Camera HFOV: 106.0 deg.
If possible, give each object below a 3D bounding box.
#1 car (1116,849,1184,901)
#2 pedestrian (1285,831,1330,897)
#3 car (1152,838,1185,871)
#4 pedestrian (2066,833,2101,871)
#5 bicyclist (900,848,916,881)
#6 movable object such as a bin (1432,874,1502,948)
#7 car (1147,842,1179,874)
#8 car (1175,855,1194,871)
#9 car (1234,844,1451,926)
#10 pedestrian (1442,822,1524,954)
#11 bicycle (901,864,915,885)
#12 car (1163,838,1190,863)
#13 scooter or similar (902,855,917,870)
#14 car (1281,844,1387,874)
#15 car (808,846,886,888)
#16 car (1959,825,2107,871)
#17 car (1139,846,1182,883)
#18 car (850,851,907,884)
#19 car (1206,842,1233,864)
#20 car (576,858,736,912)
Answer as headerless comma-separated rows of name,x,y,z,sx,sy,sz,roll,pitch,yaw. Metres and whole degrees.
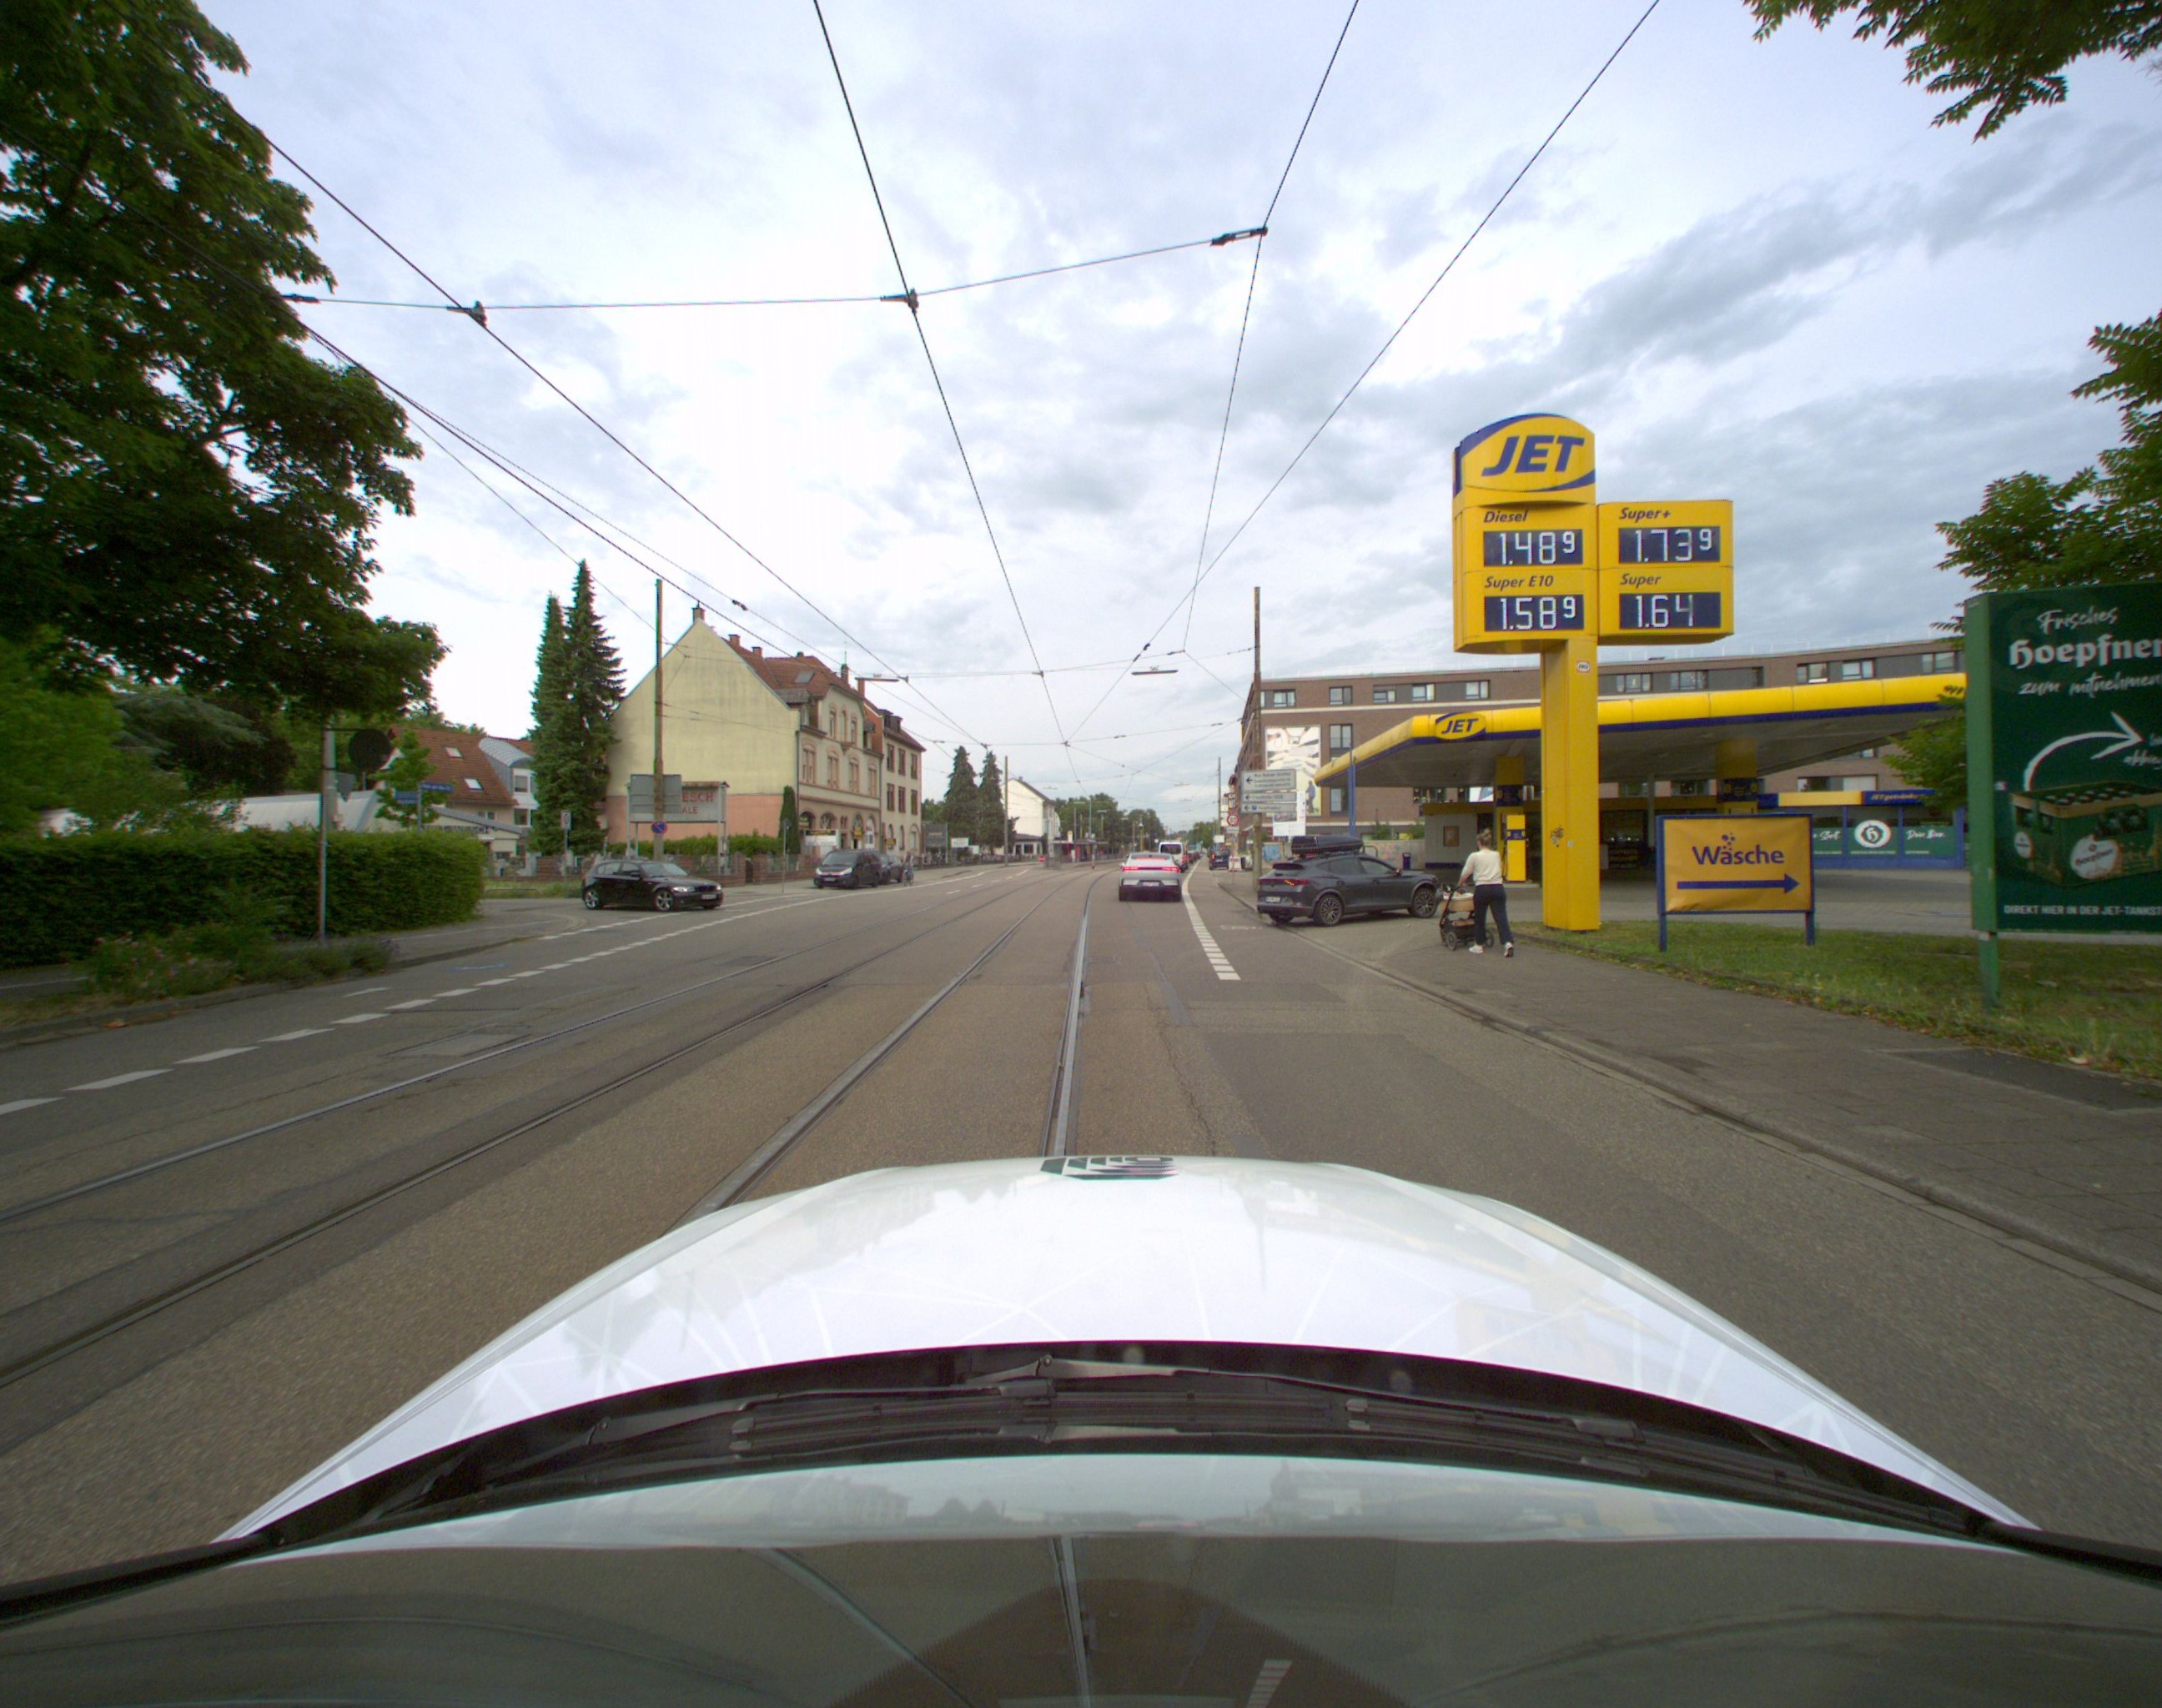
car,2.189,0.628,26.835,1.974,1.550,4.184,1,0,1
pedestrian,6.246,0.275,22.540,0.967,1.738,0.862,-3,-1,4
car,6.645,0.068,62.352,2.207,2.423,4.955,1,0,3
pedestrian,35.804,-0.079,29.088,0.573,1.347,0.615,1,-1,25
bicyclist,-9.168,0.555,43.169,0.735,1.749,0.976,-2,0,-9
movable object such as a bin,5.978,0.865,12.655,0.762,1.039,1.028,-3,-1,15
car,5.408,0.296,54.058,1.984,2.014,4.005,1,0,5
car,13.436,1.122,105.655,1.986,2.014,4.000,1,0,1
car,5.820,0.622,18.131,4.330,1.497,1.982,-2,1,-23
pedestrian,5.814,0.471,11.833,0.762,1.797,1.167,-3,-1,15
bicycle,-9.153,1.076,43.171,0.586,1.074,1.951,-2,0,-9
car,8.352,-0.262,71.631,2.130,2.145,4.749,1,0,4
scooter or similar,-13.888,0.679,65.957,1.055,1.188,0.315,1,-1,-31
car,12.966,0.254,41.889,4.825,1.427,1.965,-1,0,43
car,-11.201,0.603,39.331,1.983,1.887,5.003,1,0,4
car,36.697,-0.190,31.589,1.818,1.638,4.501,1,0,21
car,3.990,0.519,41.180,1.961,1.756,3.840,1,0,3
car,-11.116,0.708,44.984,1.837,1.718,4.196,1,0,3
car,11.890,-0.045,70.261,1.866,1.823,4.101,1,0,4
car,-11.737,0.805,22.513,3.886,1.388,1.812,0,0,22
